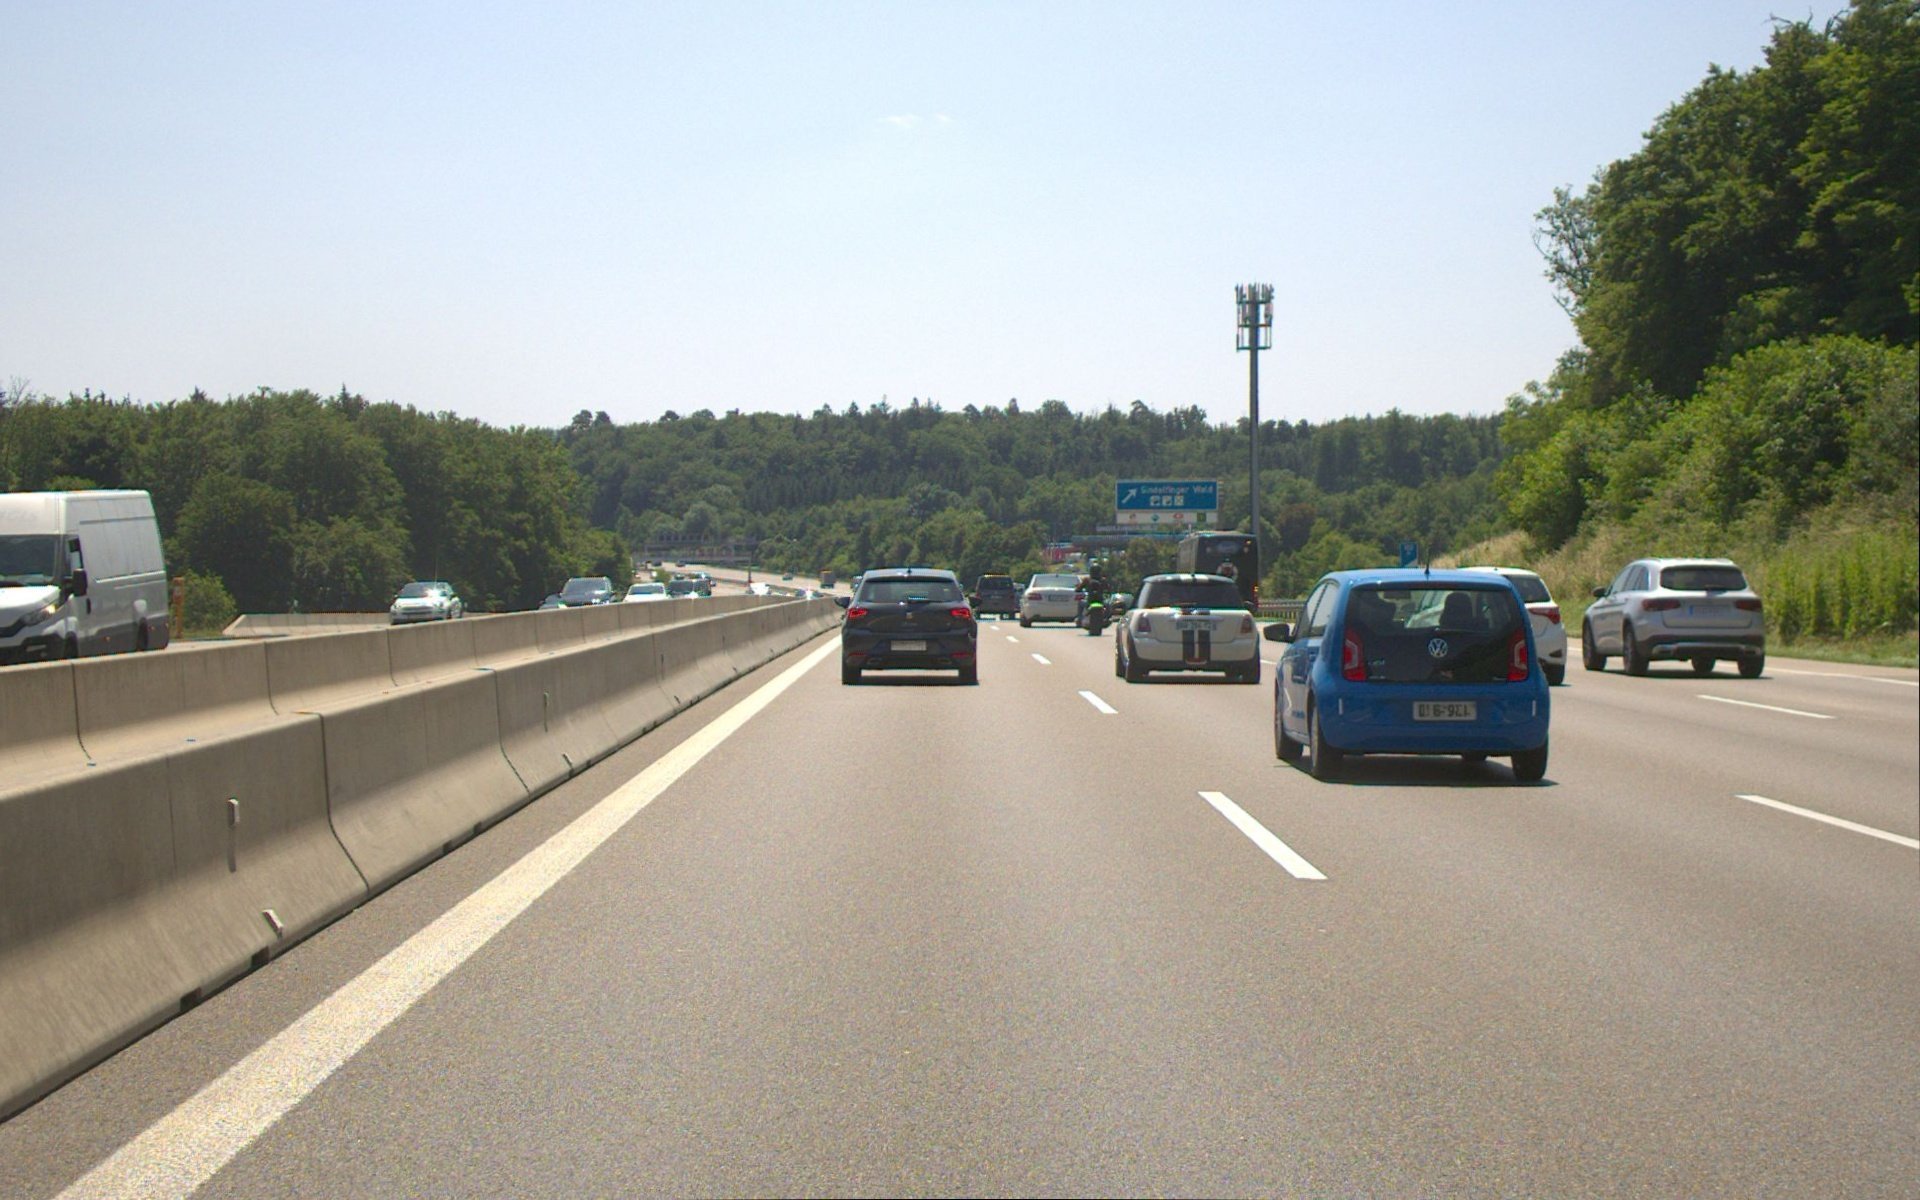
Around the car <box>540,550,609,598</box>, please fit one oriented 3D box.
[{"bbox_3d":[-12.870,-0.879,114.966,1.801,1.543,4.729,1,1,0],"label":"car"}]

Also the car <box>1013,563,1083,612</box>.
[{"bbox_3d":[2.371,-0.356,93.625,1.782,1.261,3.460,-1,1,0],"label":"car"}]

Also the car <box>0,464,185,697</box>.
[{"bbox_3d":[-12.115,-0.229,45.330,2.085,2.790,7.603,-3,0,-1],"label":"car"}]

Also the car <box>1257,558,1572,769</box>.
[{"bbox_3d":[3.217,0.423,25.009,1.737,1.406,4.000,0,0,0],"label":"car"}]

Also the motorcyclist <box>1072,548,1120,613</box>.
[{"bbox_3d":[3.101,-0.443,78.373,0.962,1.433,1.235,-2,0,-2],"label":"motorcyclist"}]

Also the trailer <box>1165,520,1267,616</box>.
[{"bbox_3d":[10.422,-1.215,141.443,2.857,3.675,13.542,-1,0,-1],"label":"trailer"}]

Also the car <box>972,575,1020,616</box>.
[{"bbox_3d":[1.681,-0.243,160.661,2.097,1.845,4.081,-1,1,-1],"label":"car"}]

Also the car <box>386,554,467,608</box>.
[{"bbox_3d":[-16.426,-0.602,106.058,1.744,1.557,4.422,-3,0,0],"label":"car"}]

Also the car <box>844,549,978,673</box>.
[{"bbox_3d":[-0.608,0.110,43.873,1.624,1.482,3.685,0,1,0],"label":"car"}]

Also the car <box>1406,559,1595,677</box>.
[{"bbox_3d":[7.017,0.198,45.004,1.666,1.428,4.376,-1,1,-1],"label":"car"}]

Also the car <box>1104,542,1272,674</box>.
[{"bbox_3d":[2.934,0.104,44.966,1.841,1.547,4.000,3,0,0],"label":"car"}]

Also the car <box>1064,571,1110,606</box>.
[{"bbox_3d":[5.396,-0.485,146.612,1.675,1.427,3.685,-1,1,-2],"label":"car"}]

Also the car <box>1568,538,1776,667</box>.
[{"bbox_3d":[10.117,-0.007,49.229,1.801,1.725,5.239,1,1,-1],"label":"car"}]

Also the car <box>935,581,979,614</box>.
[{"bbox_3d":[-0.184,-0.134,183.876,1.993,1.678,4.424,1,1,-5],"label":"car"}]

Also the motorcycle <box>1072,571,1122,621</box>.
[{"bbox_3d":[3.116,-0.100,78.356,0.977,1.125,2.271,0,0,-2],"label":"motorcycle"}]

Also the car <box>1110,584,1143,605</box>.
[{"bbox_3d":[9.842,-0.309,203.154,1.608,1.208,3.460,-1,0,-2],"label":"car"}]
